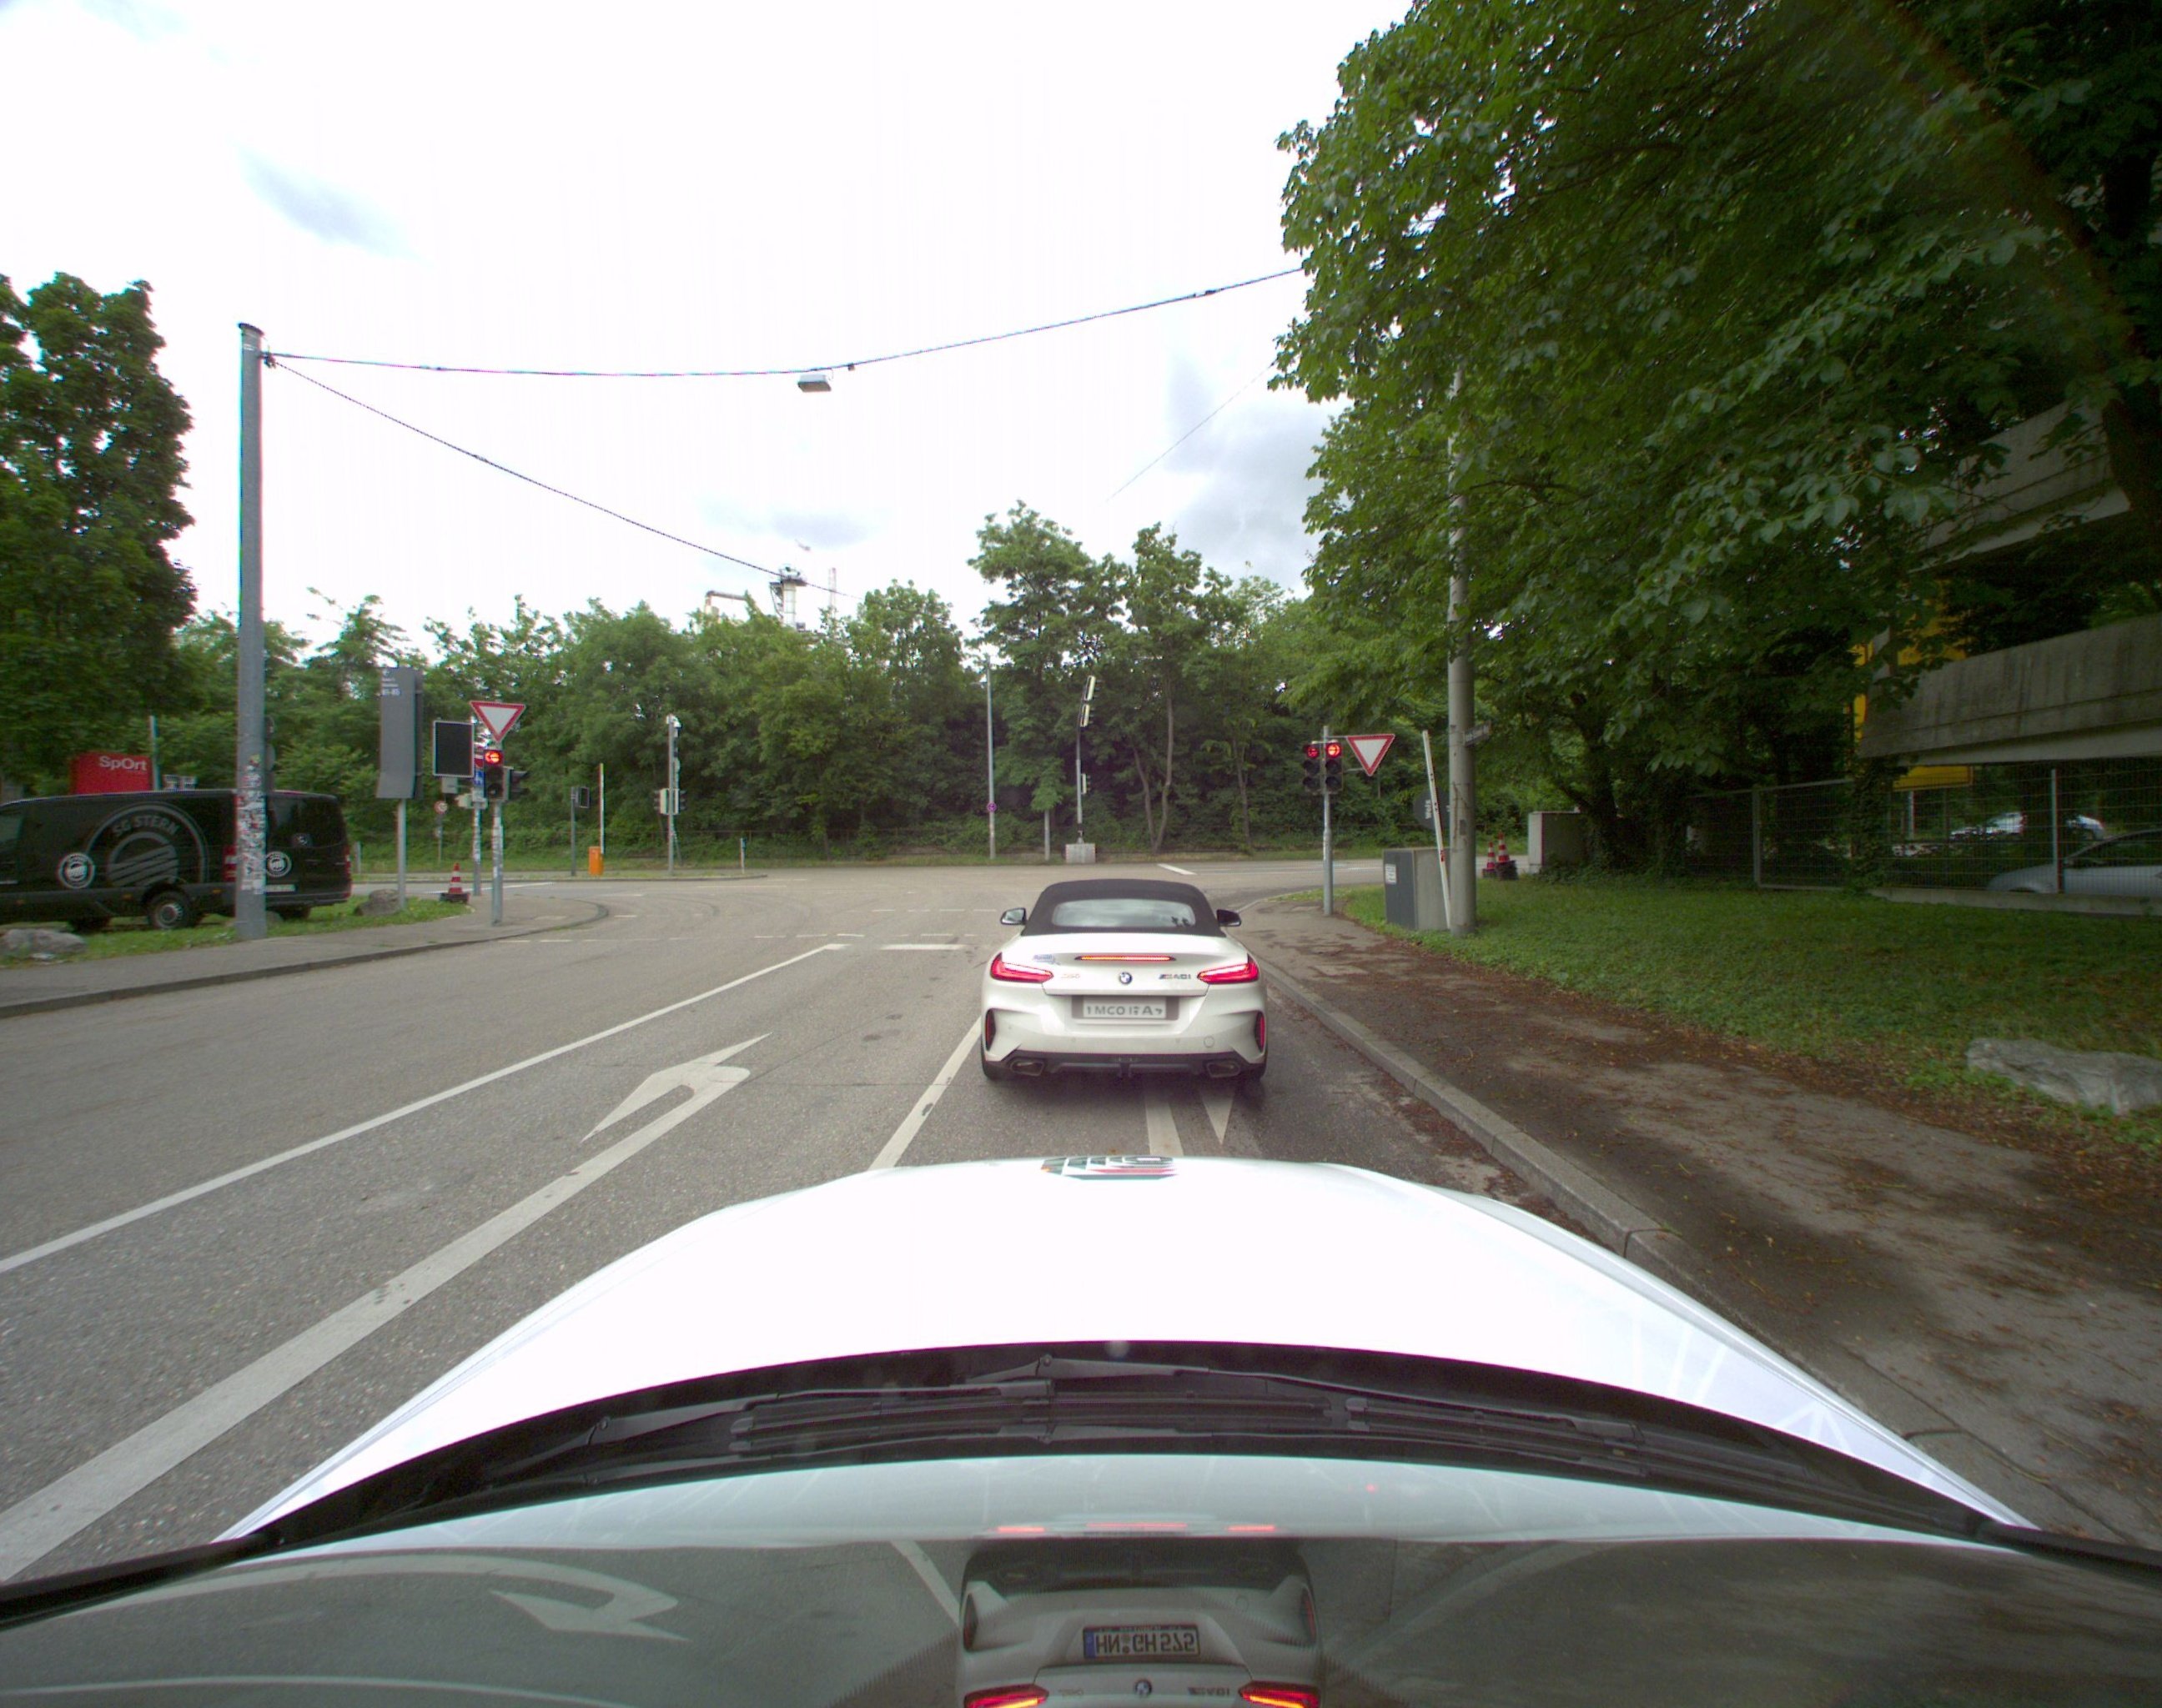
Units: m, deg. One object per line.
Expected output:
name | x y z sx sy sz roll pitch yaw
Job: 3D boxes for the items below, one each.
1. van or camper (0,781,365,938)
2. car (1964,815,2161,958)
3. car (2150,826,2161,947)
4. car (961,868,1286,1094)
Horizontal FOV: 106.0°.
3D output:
van or camper | -15.892 0.144 13.939 5.513 2.314 2.063 -2 -2 2
car | 13.612 0.398 10.035 1.475 1.708 3.720 0 -1 2
car | 16.005 0.424 9.728 1.574 1.708 3.770 0 -1 2
car | 0.240 0.764 6.573 1.822 1.257 3.998 0 -1 0
